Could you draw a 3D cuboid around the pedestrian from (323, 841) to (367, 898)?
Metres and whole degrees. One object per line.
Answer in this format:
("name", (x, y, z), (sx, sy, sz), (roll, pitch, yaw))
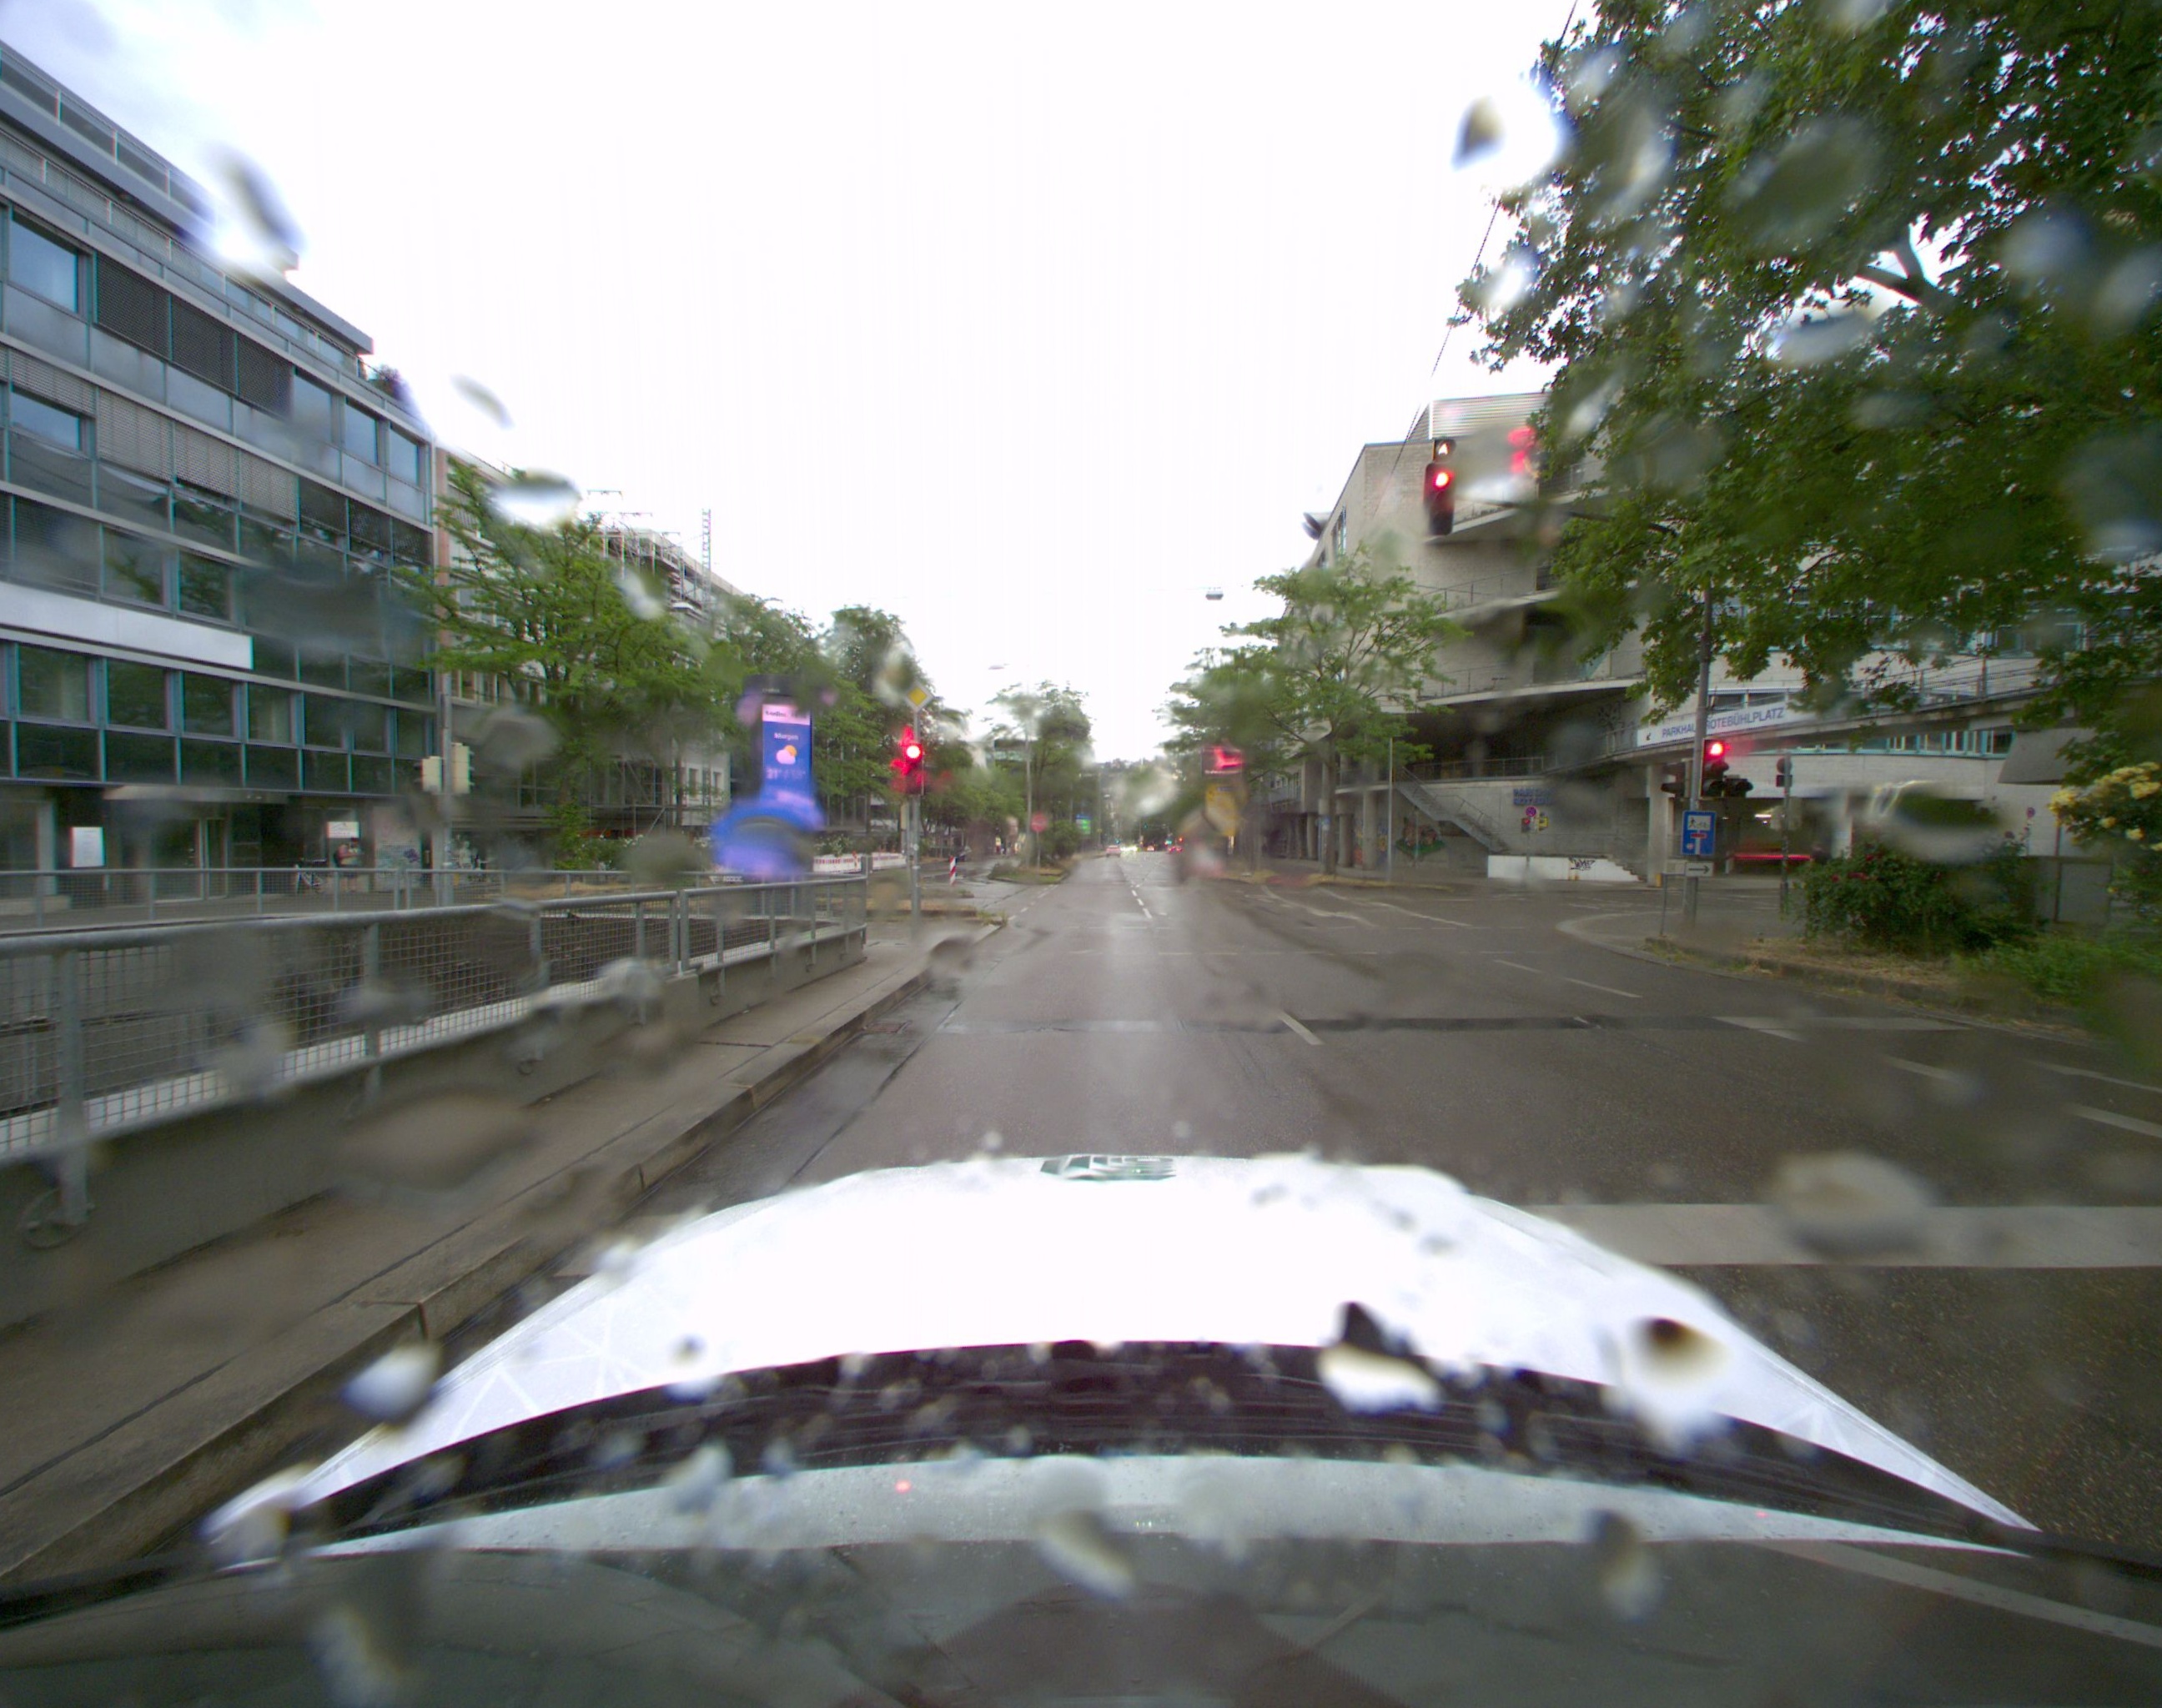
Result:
("pedestrian", (-22.808, 0.482, 25.235), (0.694, 1.741, 0.694), (1, 0, -4))

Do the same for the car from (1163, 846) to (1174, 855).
("car", (17.877, -0.667, 166.634), (1.986, 1.736, 4.001), (0, -1, 2))

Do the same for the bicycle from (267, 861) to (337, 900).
("bicycle", (-22.954, 0.759, 24.035), (0.444, 1.085, 1.567), (0, 0, 6))

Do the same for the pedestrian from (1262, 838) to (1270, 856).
("pedestrian", (19.713, -0.753, 86.659), (0.770, 1.920, 0.705), (-1, -1, 11))

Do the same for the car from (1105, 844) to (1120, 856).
("car", (4.267, -0.501, 110.853), (1.823, 1.640, 4.300), (1, 0, 0))

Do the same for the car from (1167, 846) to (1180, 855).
("car", (17.646, -0.649, 155.485), (1.986, 1.723, 4.001), (0, -1, 1))

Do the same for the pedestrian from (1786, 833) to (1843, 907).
("pedestrian", (19.351, 0.408, 21.490), (0.843, 1.910, 0.758), (0, 0, 1))

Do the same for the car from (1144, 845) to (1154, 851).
("car", (18.794, -1.649, 225.056), (1.989, 1.758, 3.995), (1, 0, -4))

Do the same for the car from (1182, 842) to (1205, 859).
("car", (11.542, -0.352, 83.337), (2.324, 1.691, 4.010), (0, 0, 9))
